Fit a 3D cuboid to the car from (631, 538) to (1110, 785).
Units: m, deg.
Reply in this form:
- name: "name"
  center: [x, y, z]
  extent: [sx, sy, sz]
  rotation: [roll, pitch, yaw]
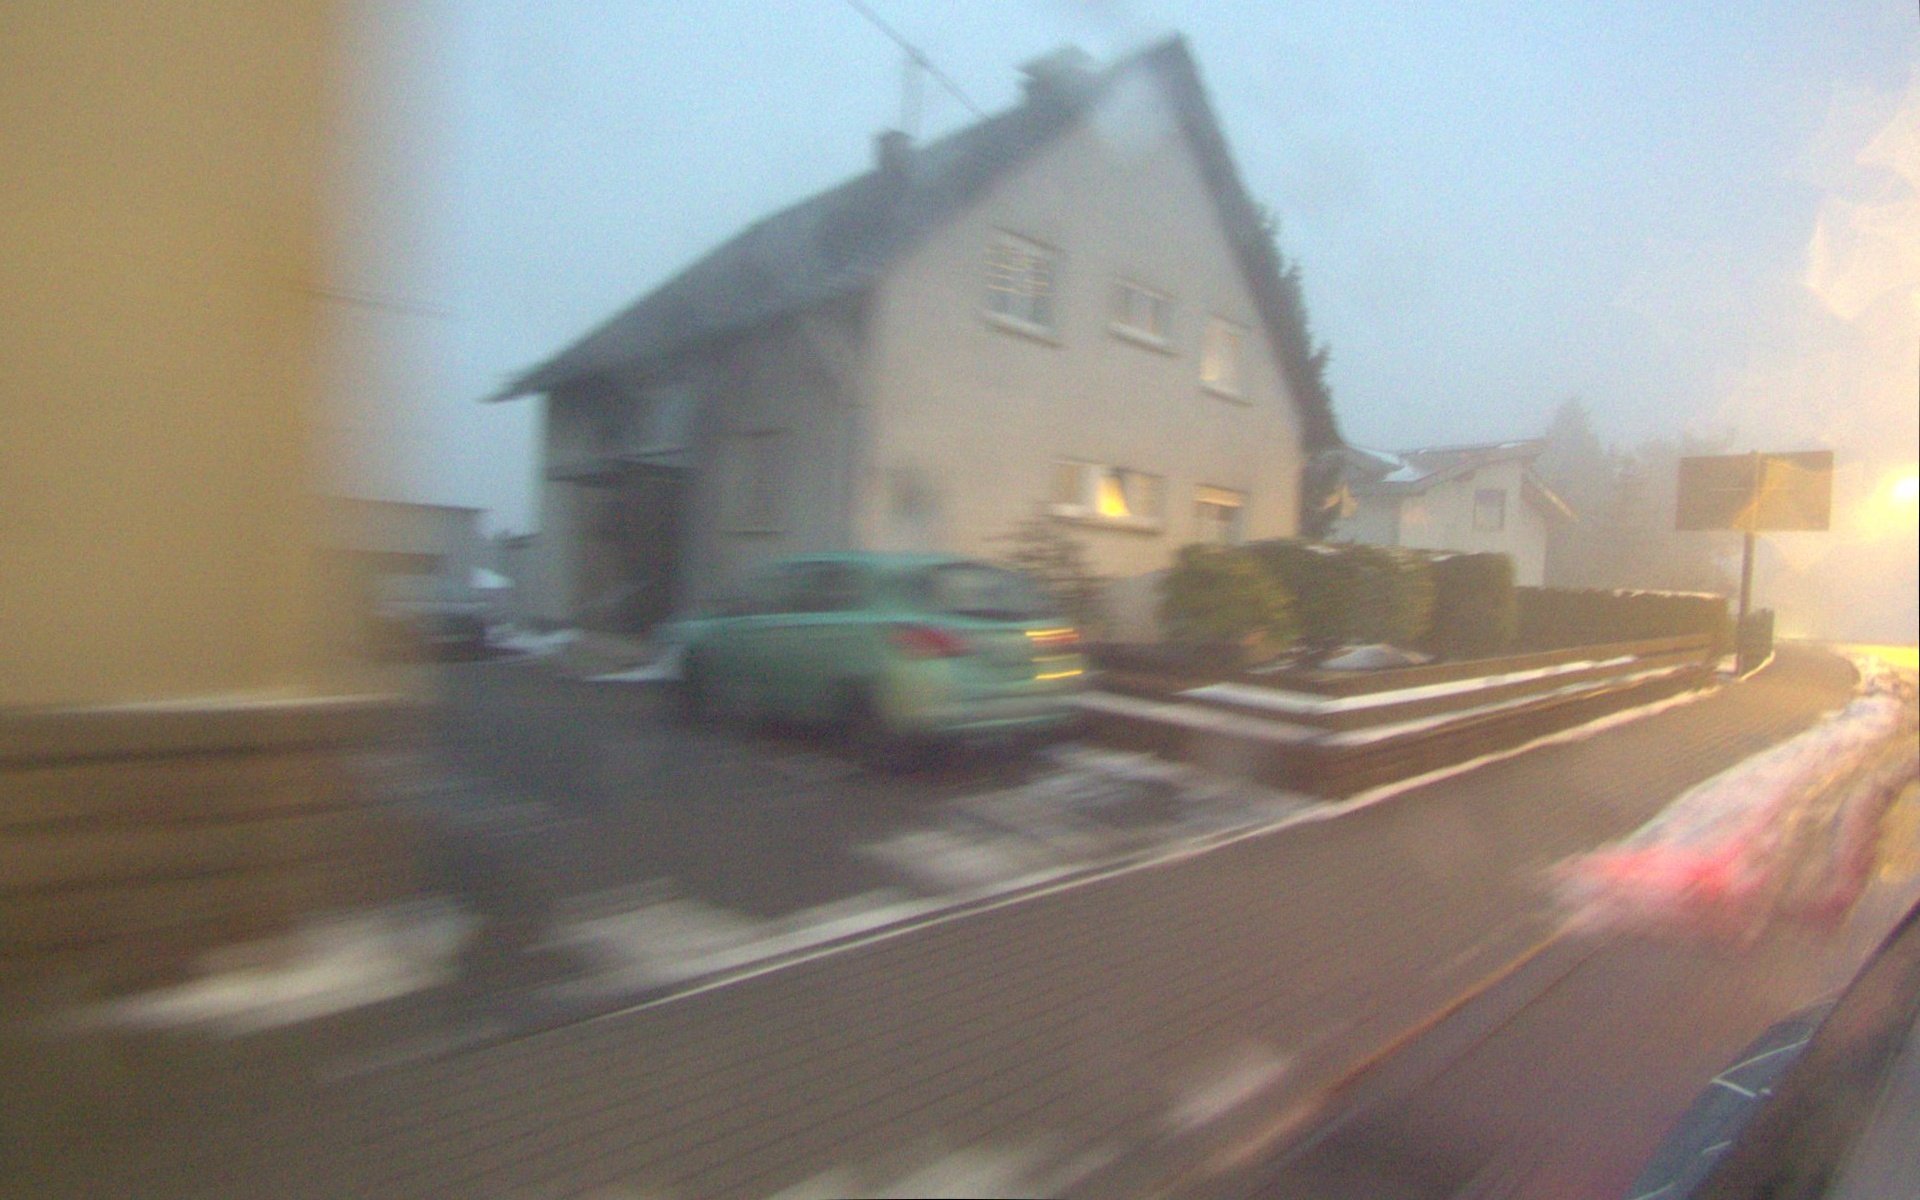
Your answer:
- name: "car"
  center: [-0.920, 0.373, 8.081]
  extent: [1.685, 1.472, 3.992]
  rotation: [4, -2, -43]

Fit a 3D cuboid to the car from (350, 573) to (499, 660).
- name: "car"
  center: [-9.156, 0.252, 17.149]
  extent: [1.547, 1.262, 3.998]
  rotation: [4, -2, -37]

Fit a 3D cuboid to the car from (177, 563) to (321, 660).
- name: "car"
  center: [-10.906, 0.159, 15.453]
  extent: [1.547, 1.262, 3.998]
  rotation: [4, -2, -37]
